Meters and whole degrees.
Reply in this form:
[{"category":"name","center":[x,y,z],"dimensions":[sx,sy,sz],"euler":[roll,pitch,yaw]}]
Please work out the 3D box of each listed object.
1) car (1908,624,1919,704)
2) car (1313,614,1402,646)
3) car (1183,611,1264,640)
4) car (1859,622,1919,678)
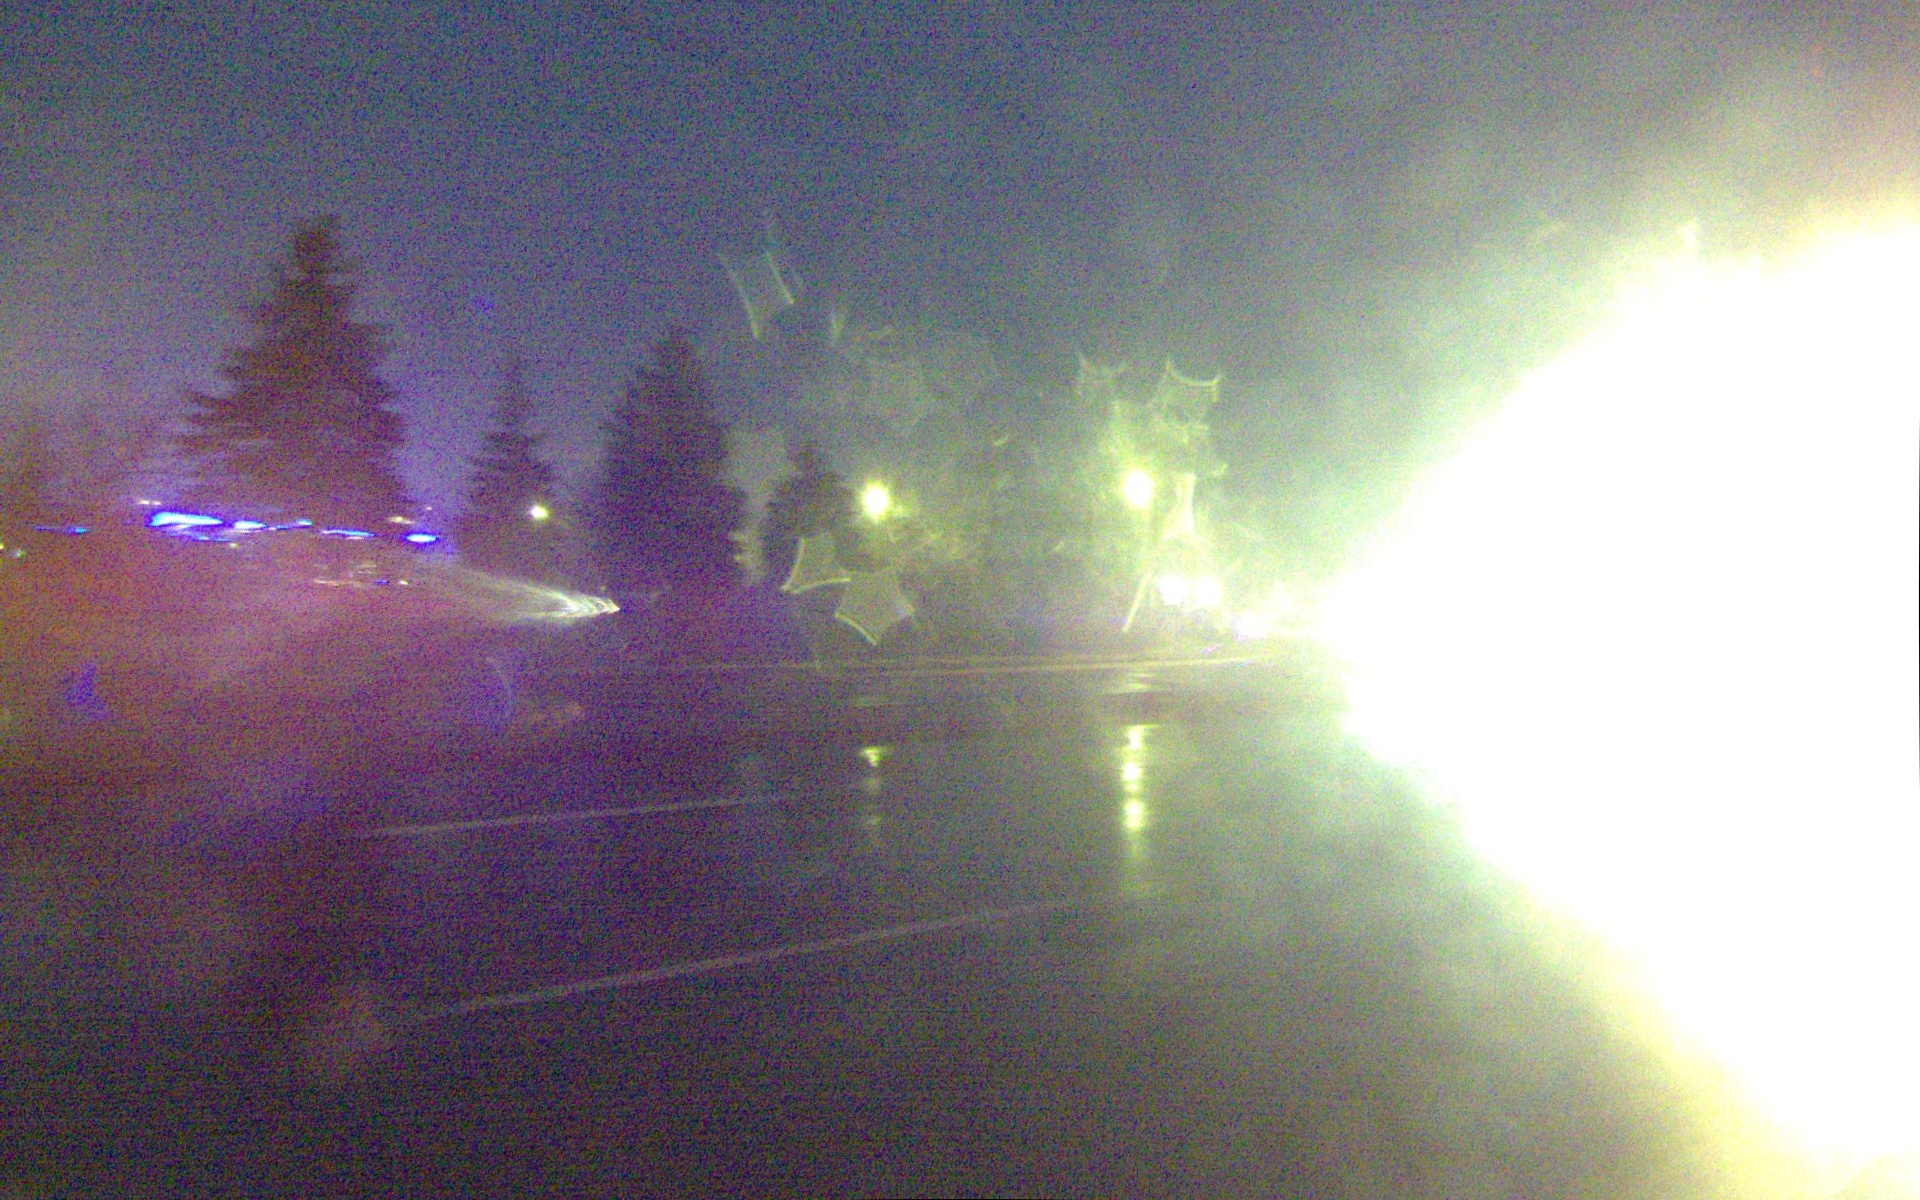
[{"category":"car","center":[22.252,1.302,21.396],"dimensions":[4.933,1.649,1.981],"euler":[0,-2,-35]},{"category":"car","center":[21.851,1.596,55.221],"dimensions":[4.217,1.649,1.994],"euler":[0,-1,35]},{"category":"car","center":[15.582,1.478,59.413],"dimensions":[4.219,1.649,1.993],"euler":[0,-1,36]},{"category":"car","center":[30.579,1.533,31.848],"dimensions":[4.933,1.649,1.981],"euler":[0,-2,-35]}]
